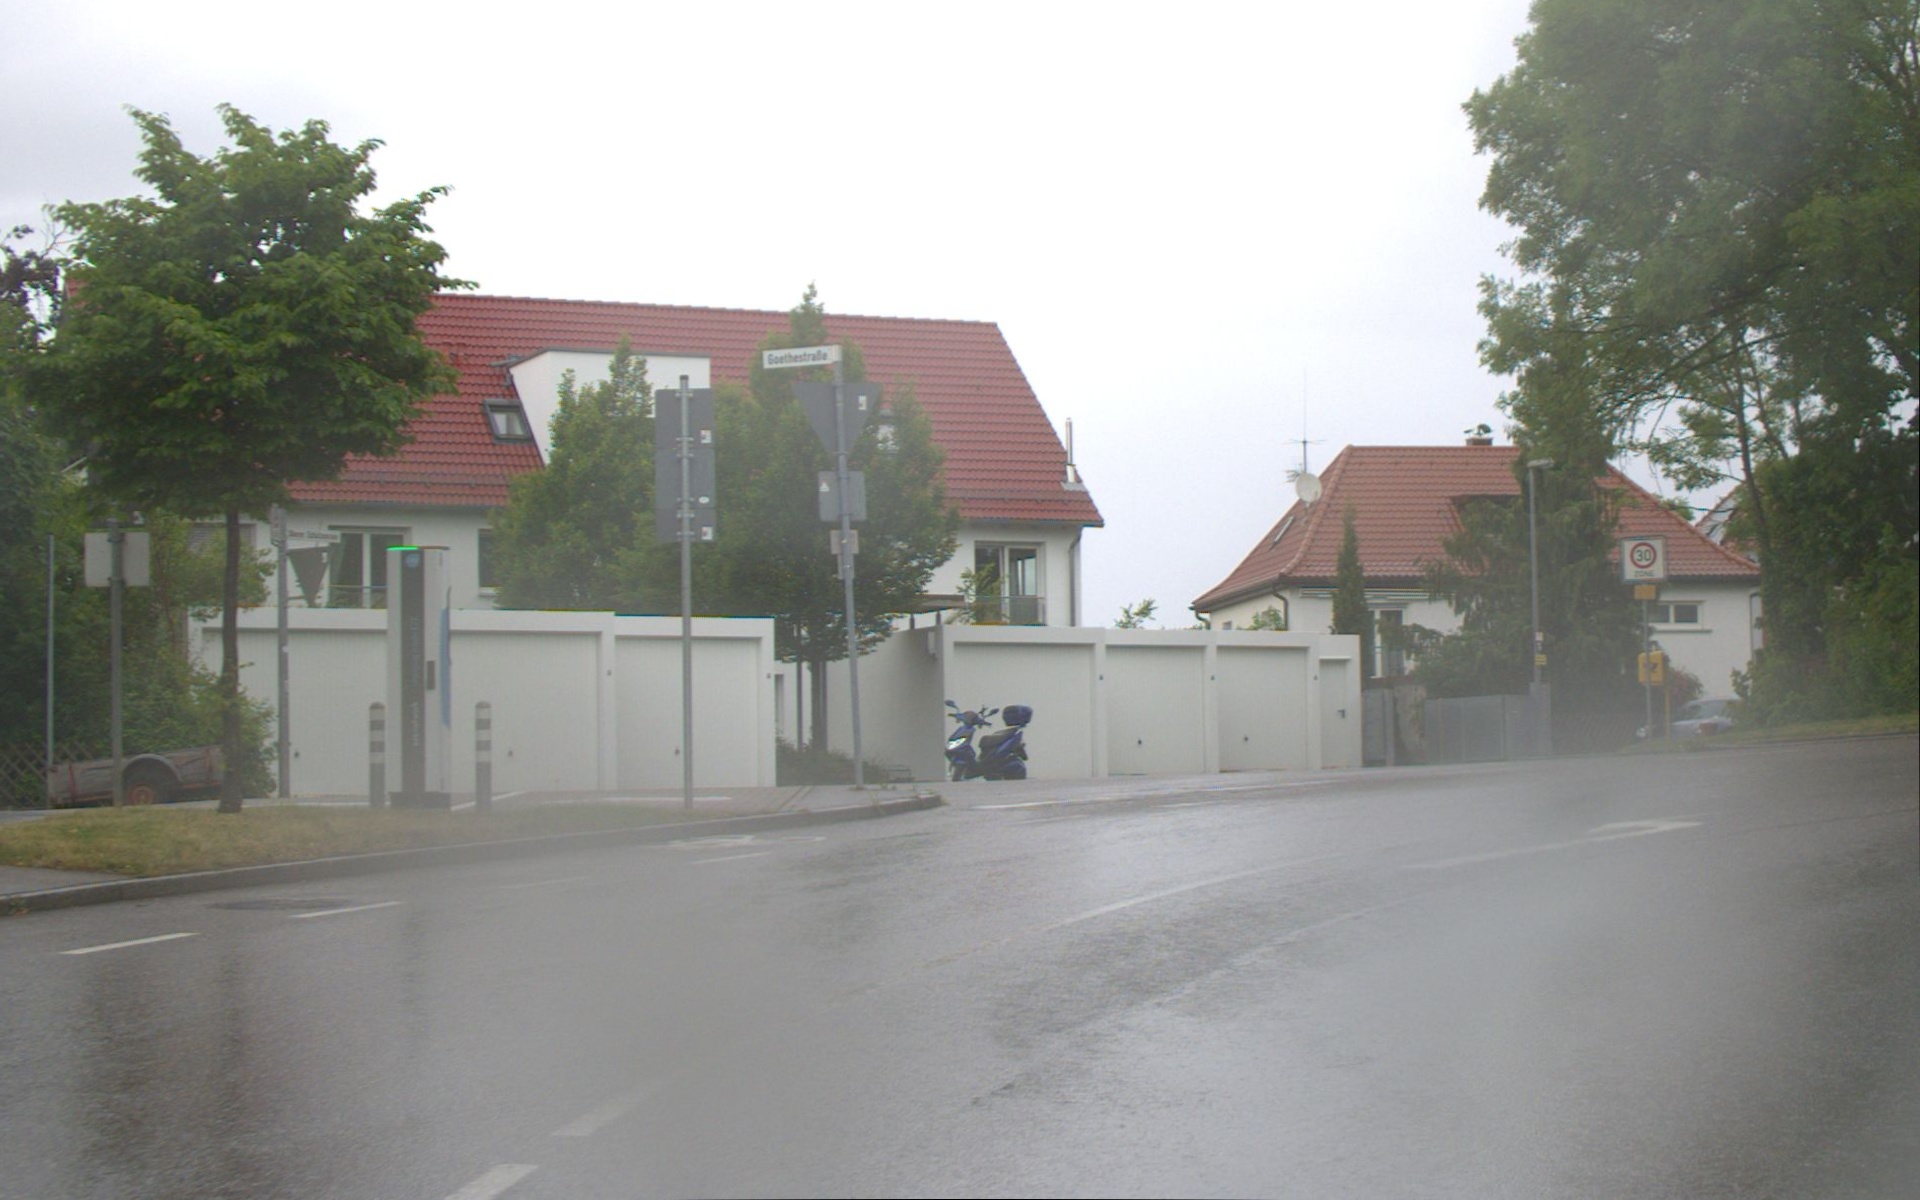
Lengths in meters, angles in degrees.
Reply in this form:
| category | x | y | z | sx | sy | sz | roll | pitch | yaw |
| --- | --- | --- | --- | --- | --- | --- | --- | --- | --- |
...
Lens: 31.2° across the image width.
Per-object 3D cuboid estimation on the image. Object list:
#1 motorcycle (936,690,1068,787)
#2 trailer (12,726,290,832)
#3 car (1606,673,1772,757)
| category | x | y | z | sx | sy | sz | roll | pitch | yaw |
| --- | --- | --- | --- | --- | --- | --- | --- | --- | --- |
| motorcycle | 0.631 | 2.037 | 50.753 | 0.708 | 1.317 | 2.041 | -4 | -2 | 42 |
| trailer | -9.356 | 2.068 | 39.894 | 2.814 | 1.003 | 1.593 | -3 | -1 | 0 |
| car | 14.639 | 2.288 | 68.880 | 1.997 | 1.503 | 3.993 | -4 | -2 | 31 |
